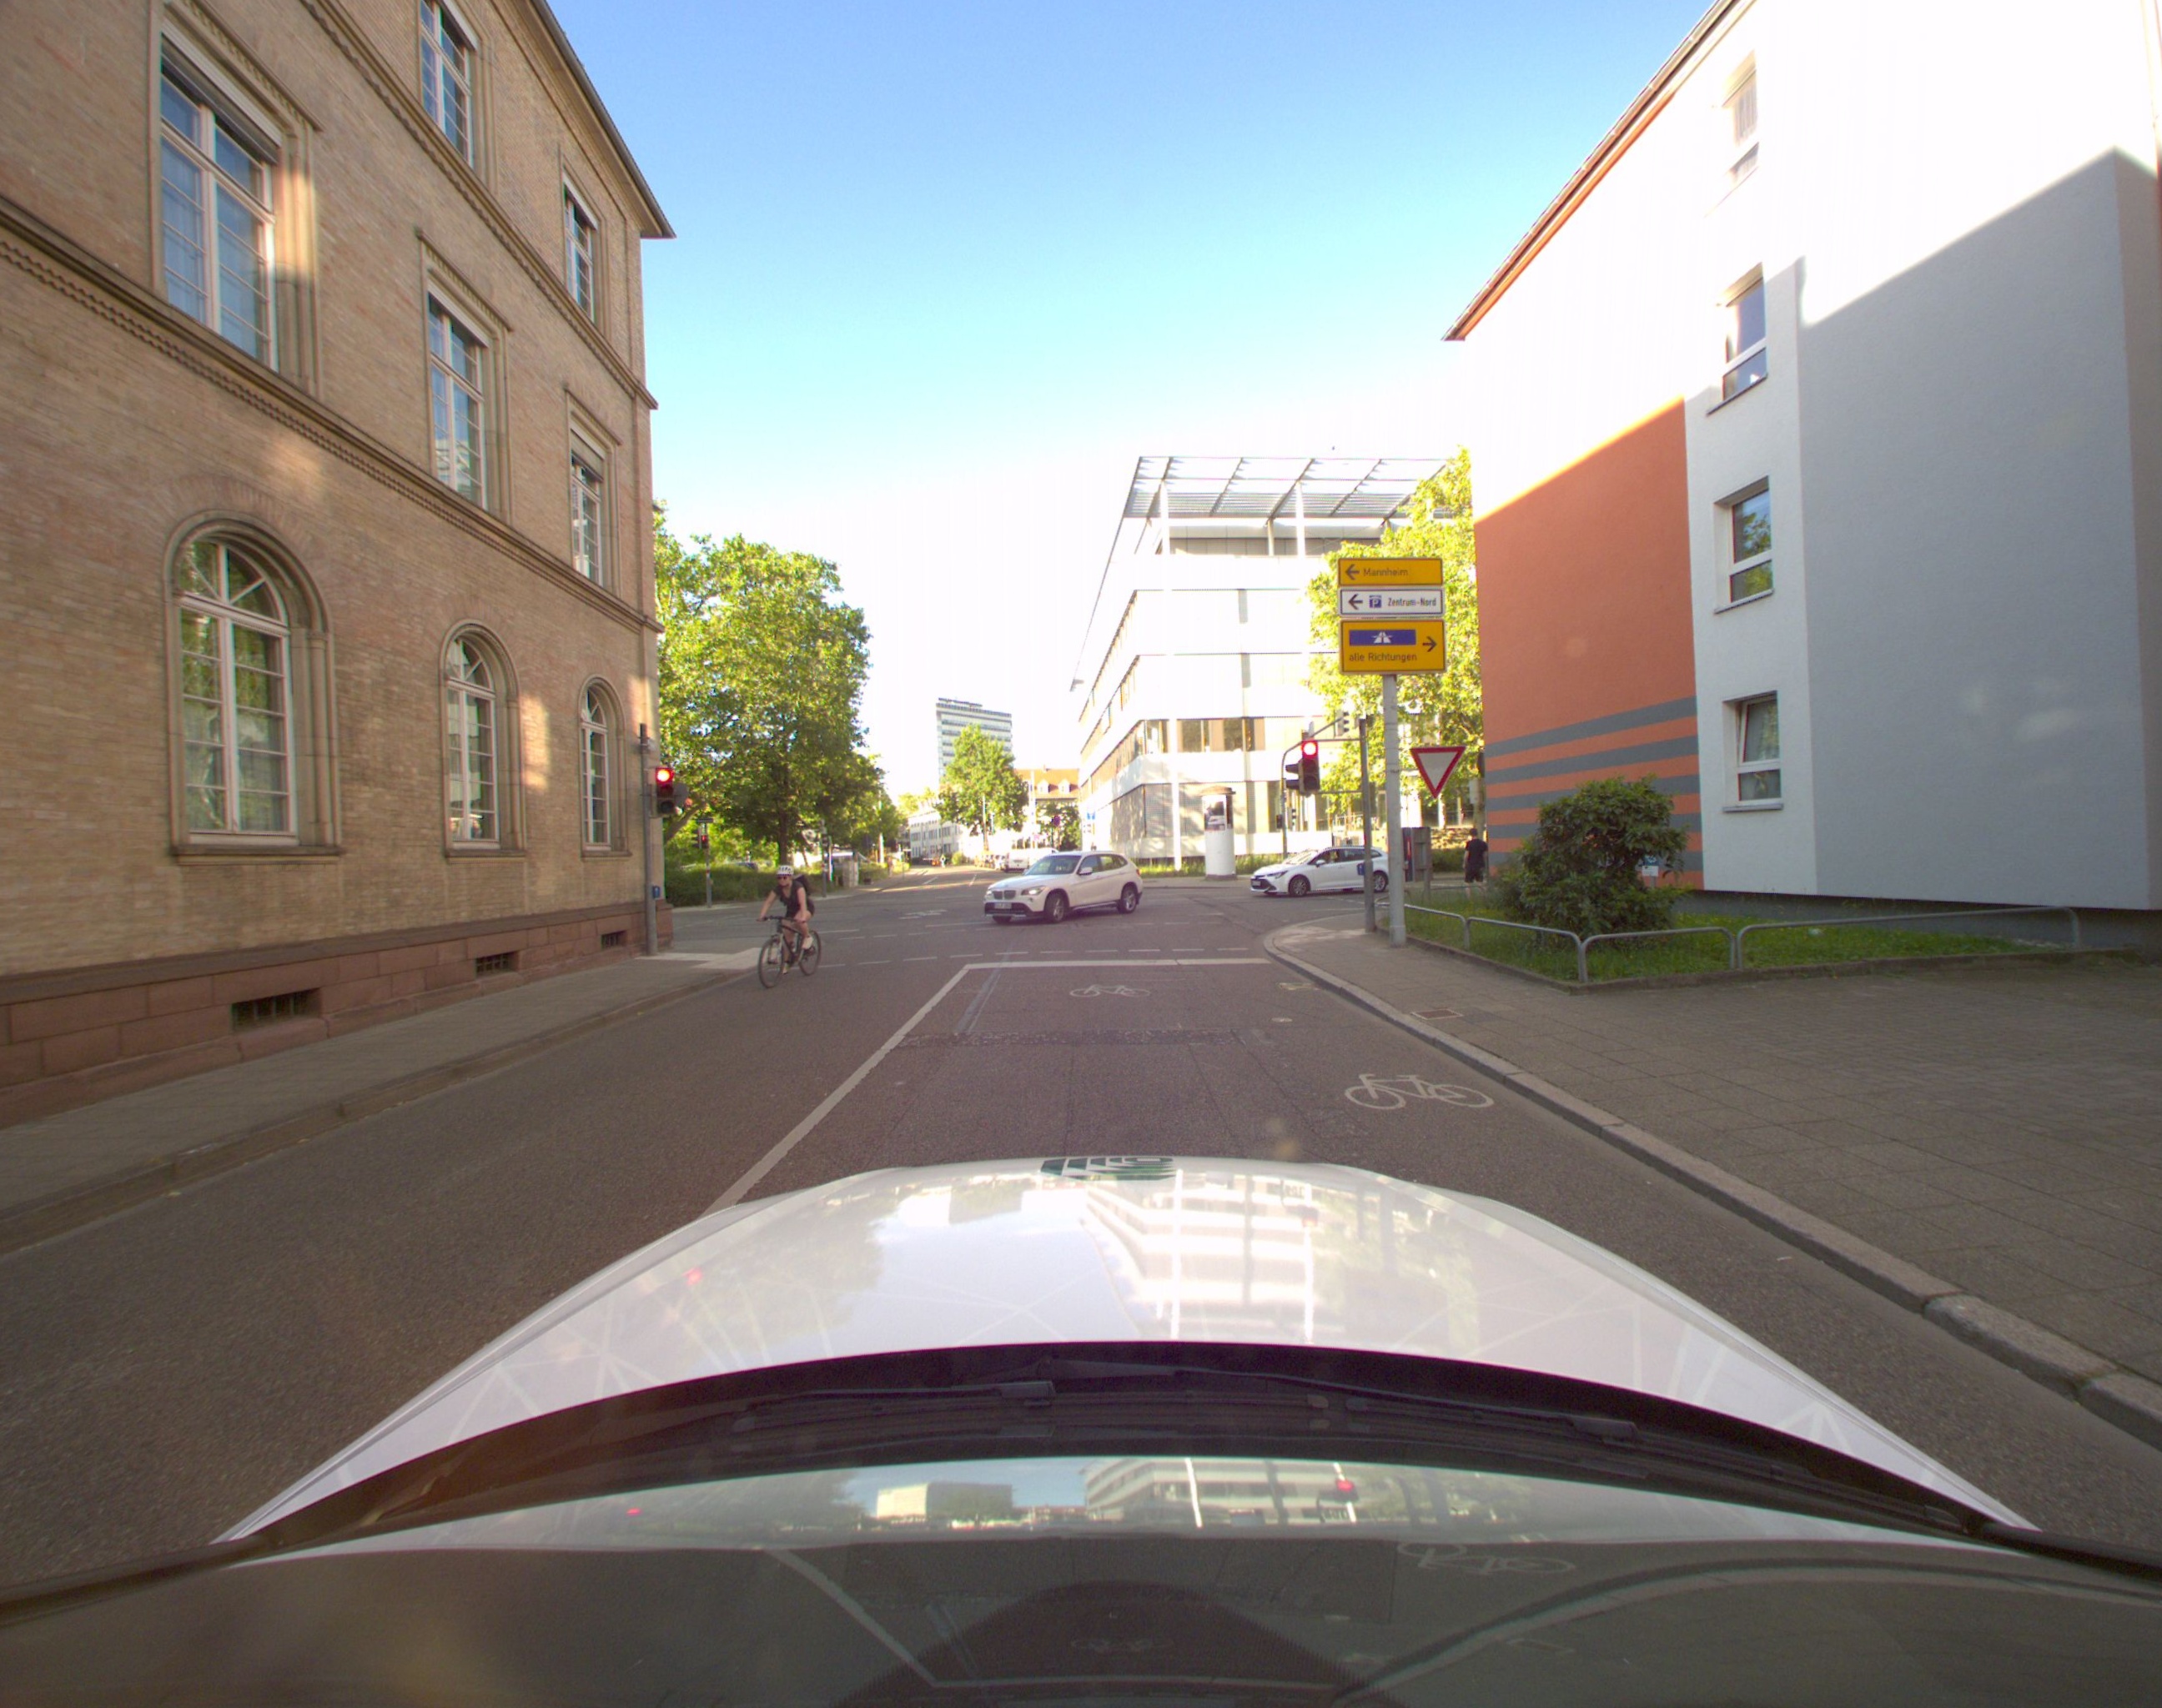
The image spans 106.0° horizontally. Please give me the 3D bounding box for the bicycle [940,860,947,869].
[{"bbox_3d":[-15.487,1.194,91.985,0.615,0.969,1.837,-3,0,-7],"label":"bicycle"}]

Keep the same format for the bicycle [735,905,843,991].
[{"bbox_3d":[-3.979,1.253,11.254,0.682,0.924,1.768,-4,0,3],"label":"bicycle"}]

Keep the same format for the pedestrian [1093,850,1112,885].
[{"bbox_3d":[0.961,0.610,37.211,0.561,1.540,0.673,-5,1,-16],"label":"pedestrian"}]

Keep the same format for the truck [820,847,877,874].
[{"bbox_3d":[-21.607,0.589,75.844,4.825,2.399,2.082,-2,0,-8],"label":"truck"}]

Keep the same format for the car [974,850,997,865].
[{"bbox_3d":[-11.272,0.436,95.978,1.893,1.655,4.390,-2,1,-16],"label":"car"}]

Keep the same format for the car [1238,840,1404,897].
[{"bbox_3d":[7.262,0.415,24.729,4.540,1.476,1.882,-2,0,-17],"label":"car"}]

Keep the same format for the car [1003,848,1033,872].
[{"bbox_3d":[-5.093,0.457,64.982,2.084,1.795,4.403,-2,1,-8],"label":"car"}]

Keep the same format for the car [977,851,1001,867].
[{"bbox_3d":[-10.282,0.496,90.528,1.893,1.655,4.390,-2,1,-16],"label":"car"}]

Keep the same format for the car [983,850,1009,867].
[{"bbox_3d":[-9.023,0.443,85.980,1.893,1.655,4.390,-2,1,-16],"label":"car"}]

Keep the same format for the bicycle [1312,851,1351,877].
[{"bbox_3d":[11.030,0.431,35.926,0.510,1.049,1.670,-4,3,-33],"label":"bicycle"}]

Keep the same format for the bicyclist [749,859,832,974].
[{"bbox_3d":[-3.990,0.834,11.259,0.682,1.475,0.872,-4,0,3],"label":"bicyclist"}]

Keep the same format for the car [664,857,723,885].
[{"bbox_3d":[-37.167,1.614,78.134,4.551,2.391,2.069,-3,0,-7],"label":"car"}]

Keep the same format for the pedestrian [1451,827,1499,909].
[{"bbox_3d":[9.002,0.314,18.635,0.704,1.840,0.837,0,0,1],"label":"pedestrian"}]

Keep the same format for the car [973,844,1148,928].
[{"bbox_3d":[-0.352,0.656,18.985,1.669,1.582,4.303,-2,1,38],"label":"car"}]

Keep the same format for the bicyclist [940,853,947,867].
[{"bbox_3d":[-15.509,0.663,91.998,0.615,1.532,0.901,-3,0,-7],"label":"bicyclist"}]

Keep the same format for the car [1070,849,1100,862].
[{"bbox_3d":[0.510,0.190,104.445,3.563,1.546,1.549,-2,0,-17],"label":"car"}]

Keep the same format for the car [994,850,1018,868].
[{"bbox_3d":[-7.266,0.486,78.683,1.889,1.555,4.398,-2,1,-11],"label":"car"}]

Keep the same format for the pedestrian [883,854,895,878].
[{"bbox_3d":[-14.128,0.873,60.035,0.705,1.723,0.949,-3,0,-18],"label":"pedestrian"}]

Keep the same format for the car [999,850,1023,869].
[{"bbox_3d":[-6.332,0.511,73.285,1.887,1.555,4.403,-2,1,-8],"label":"car"}]

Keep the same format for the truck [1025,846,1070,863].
[{"bbox_3d":[-4.241,0.085,103.374,5.351,2.013,1.988,-2,0,-17],"label":"truck"}]

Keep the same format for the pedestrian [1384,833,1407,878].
[{"bbox_3d":[13.057,0.044,33.789,0.828,1.840,0.712,0,0,15],"label":"pedestrian"}]

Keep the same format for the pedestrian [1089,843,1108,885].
[{"bbox_3d":[0.833,0.454,37.946,0.555,1.850,0.680,-5,1,18],"label":"pedestrian"}]
